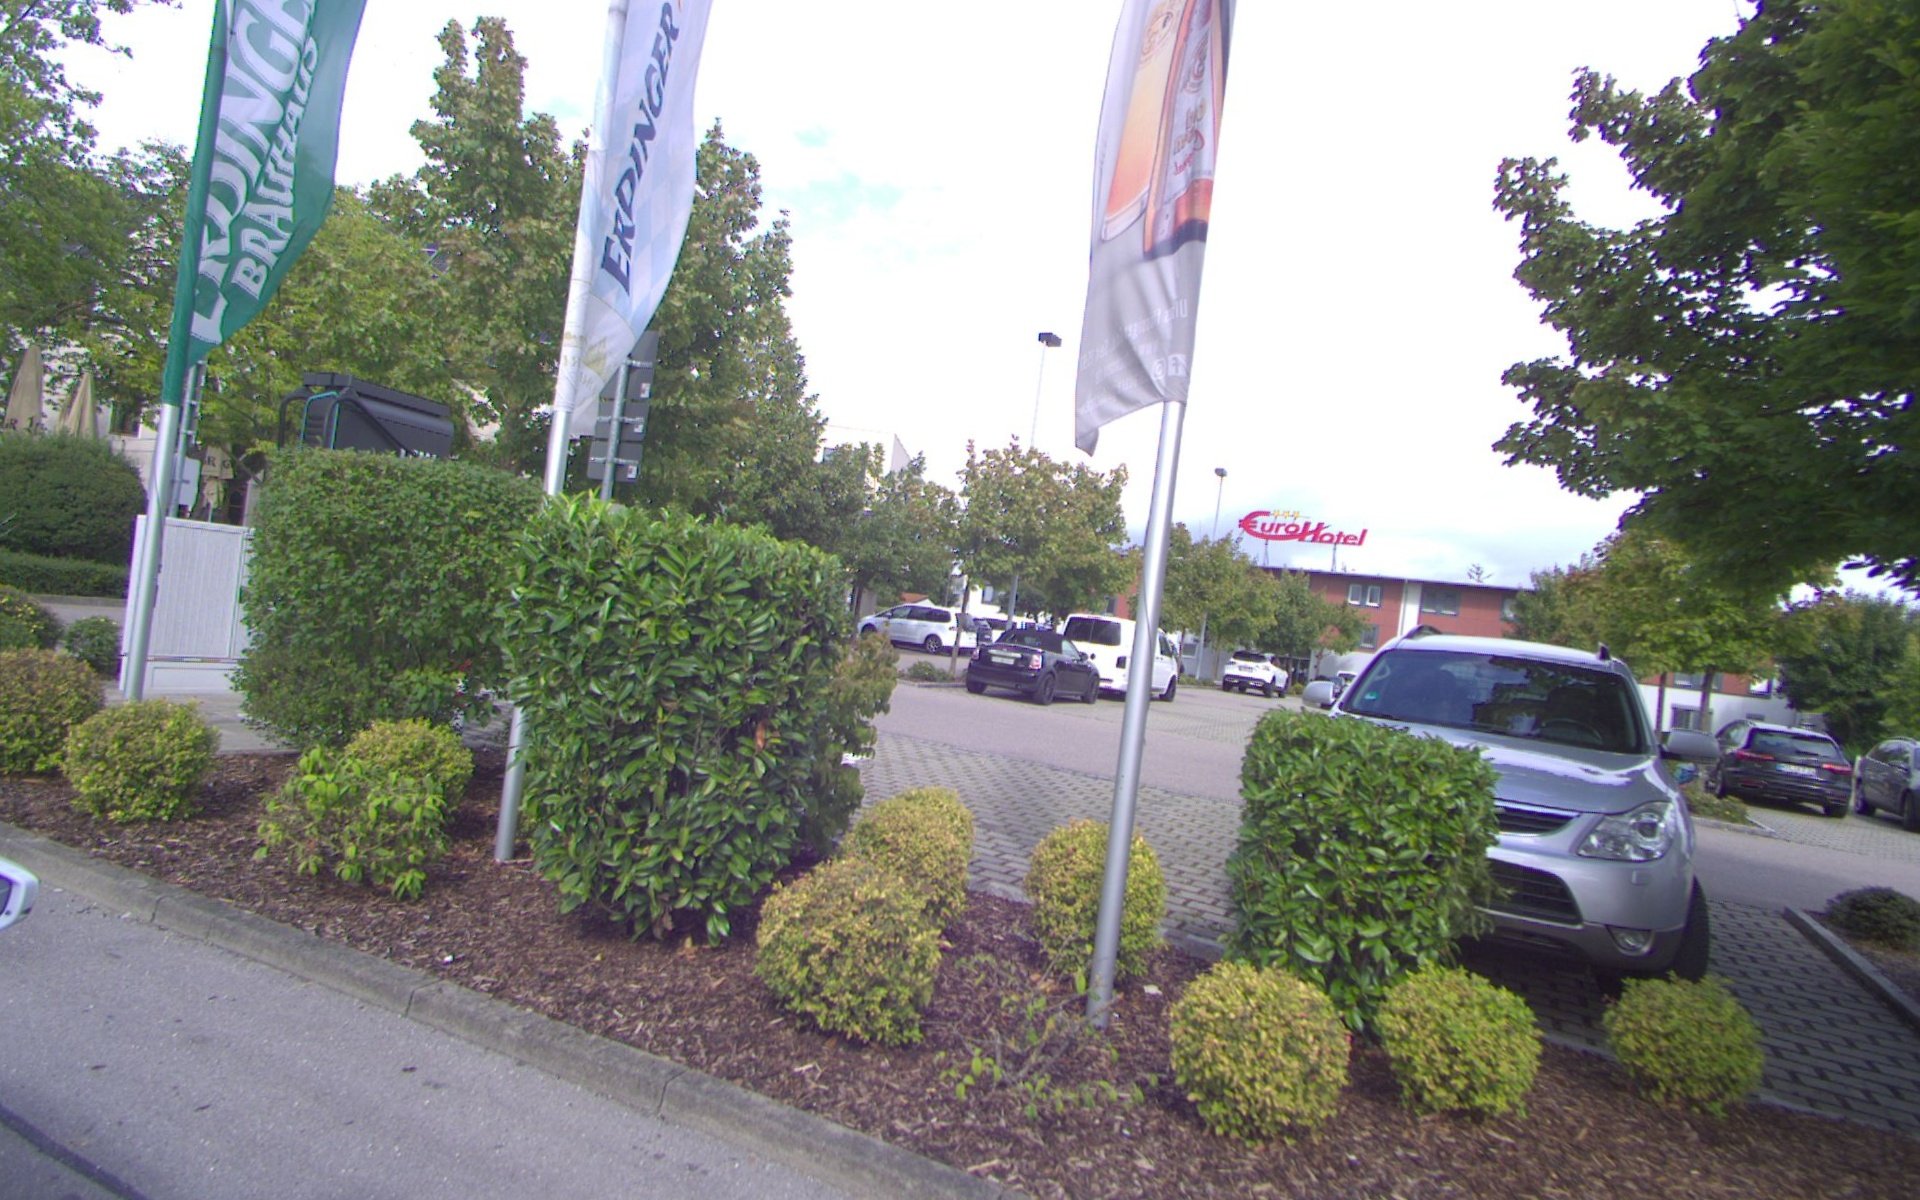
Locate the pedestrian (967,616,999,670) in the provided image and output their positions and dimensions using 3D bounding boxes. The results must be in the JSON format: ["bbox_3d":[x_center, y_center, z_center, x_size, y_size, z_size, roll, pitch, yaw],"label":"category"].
[{"bbox_3d":[0.878,1.656,38.988,0.766,1.963,0.907,8,0,-16],"label":"pedestrian"}]

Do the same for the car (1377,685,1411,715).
[{"bbox_3d":[27.227,6.273,63.051,1.754,1.562,4.000,7,-2,25],"label":"car"}]

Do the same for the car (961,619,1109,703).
[{"bbox_3d":[1.598,1.278,20.347,1.601,1.367,3.370,7,-2,29],"label":"car"}]

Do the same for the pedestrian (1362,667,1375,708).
[{"bbox_3d":[16.204,3.469,39.935,0.283,1.569,0.196,8,0,24],"label":"pedestrian"}]

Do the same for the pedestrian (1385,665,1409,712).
[{"bbox_3d":[16.764,3.393,38.583,0.411,1.745,0.496,8,0,-29],"label":"pedestrian"}]

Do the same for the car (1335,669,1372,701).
[{"bbox_3d":[25.058,5.397,63.996,1.736,1.740,4.000,7,-1,25],"label":"car"}]

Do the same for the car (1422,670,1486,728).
[{"bbox_3d":[17.424,3.496,35.621,1.736,1.675,4.000,7,-2,25],"label":"car"}]

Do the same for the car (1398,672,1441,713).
[{"bbox_3d":[23.336,4.712,51.142,1.736,1.740,4.000,7,-1,25],"label":"car"}]

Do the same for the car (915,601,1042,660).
[{"bbox_3d":[0.762,1.271,42.220,4.991,1.731,1.596,7,-1,28],"label":"car"}]

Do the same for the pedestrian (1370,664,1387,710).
[{"bbox_3d":[16.383,3.398,39.368,0.409,1.745,0.478,8,0,26],"label":"pedestrian"}]

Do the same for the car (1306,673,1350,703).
[{"bbox_3d":[19.289,4.605,52.606,1.736,1.293,4.000,7,-2,25],"label":"car"}]

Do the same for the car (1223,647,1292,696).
[{"bbox_3d":[11.313,2.755,38.109,1.791,1.517,3.846,7,-2,25],"label":"car"}]

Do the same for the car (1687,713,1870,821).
[{"bbox_3d":[14.887,2.958,18.547,1.692,1.444,4.273,7,-2,29],"label":"car"}]

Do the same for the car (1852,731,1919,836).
[{"bbox_3d":[16.777,3.177,16.826,1.967,1.589,3.994,7,-2,32],"label":"car"}]

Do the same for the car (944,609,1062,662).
[{"bbox_3d":[1.966,1.618,46.318,4.991,1.731,1.749,7,-1,28],"label":"car"}]

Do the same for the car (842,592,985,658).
[{"bbox_3d":[-1.763,0.917,37.479,4.991,1.731,1.749,7,-1,28],"label":"car"}]

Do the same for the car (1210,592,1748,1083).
[{"bbox_3d":[3.253,1.069,6.330,1.886,1.717,4.672,6,-1,30],"label":"car"}]

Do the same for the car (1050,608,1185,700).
[{"bbox_3d":[3.972,1.399,24.741,1.737,1.843,4.363,7,-2,29],"label":"car"}]
